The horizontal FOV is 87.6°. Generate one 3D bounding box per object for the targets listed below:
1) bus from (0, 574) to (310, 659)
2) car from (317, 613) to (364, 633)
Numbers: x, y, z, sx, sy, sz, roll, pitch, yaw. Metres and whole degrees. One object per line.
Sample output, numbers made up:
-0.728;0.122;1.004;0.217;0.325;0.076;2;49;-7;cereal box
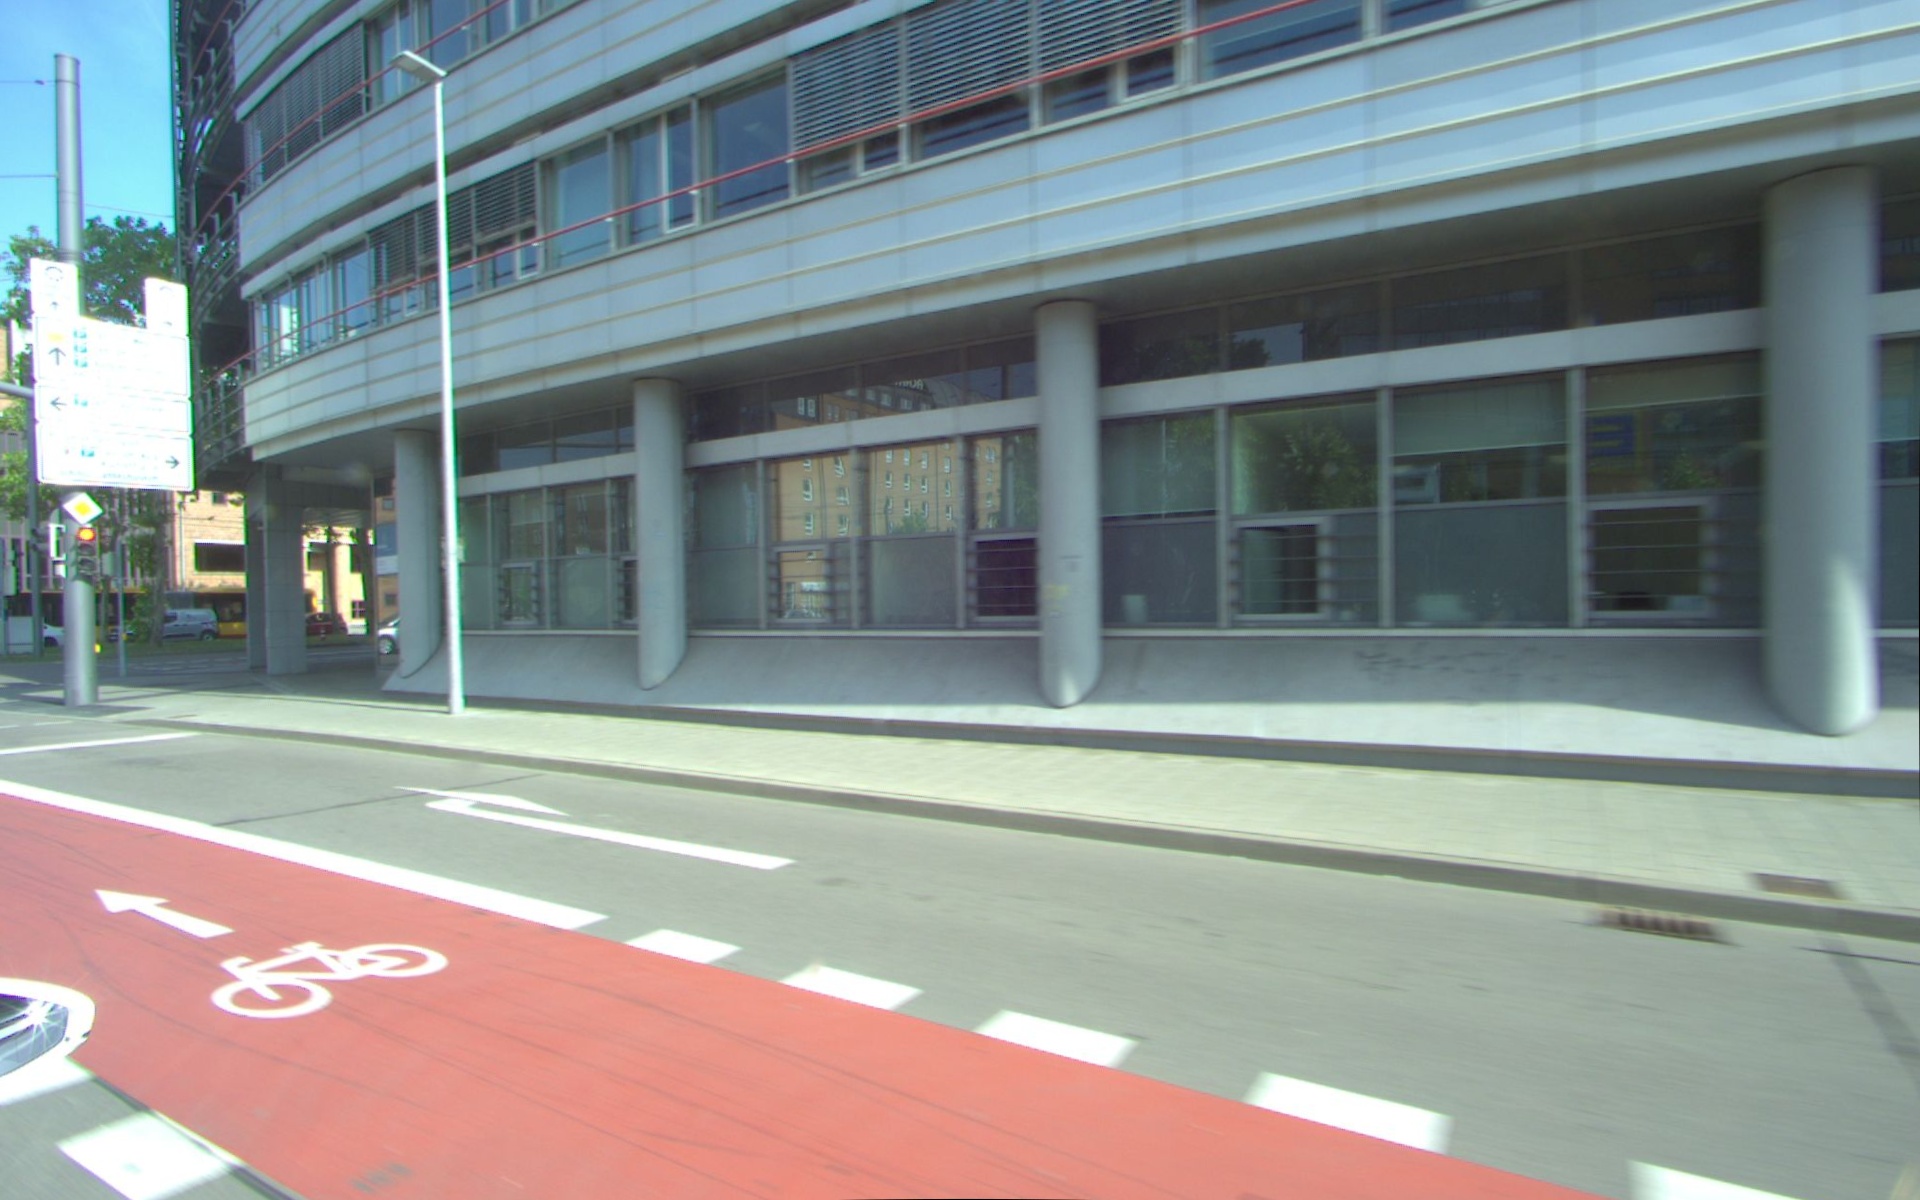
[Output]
-42.904;0.831;51.294;2.817;3.859;17.622;-2;-1;22;bus
-35.682;1.320;57.695;0.712;1.125;2.236;-2;-1;28;car
